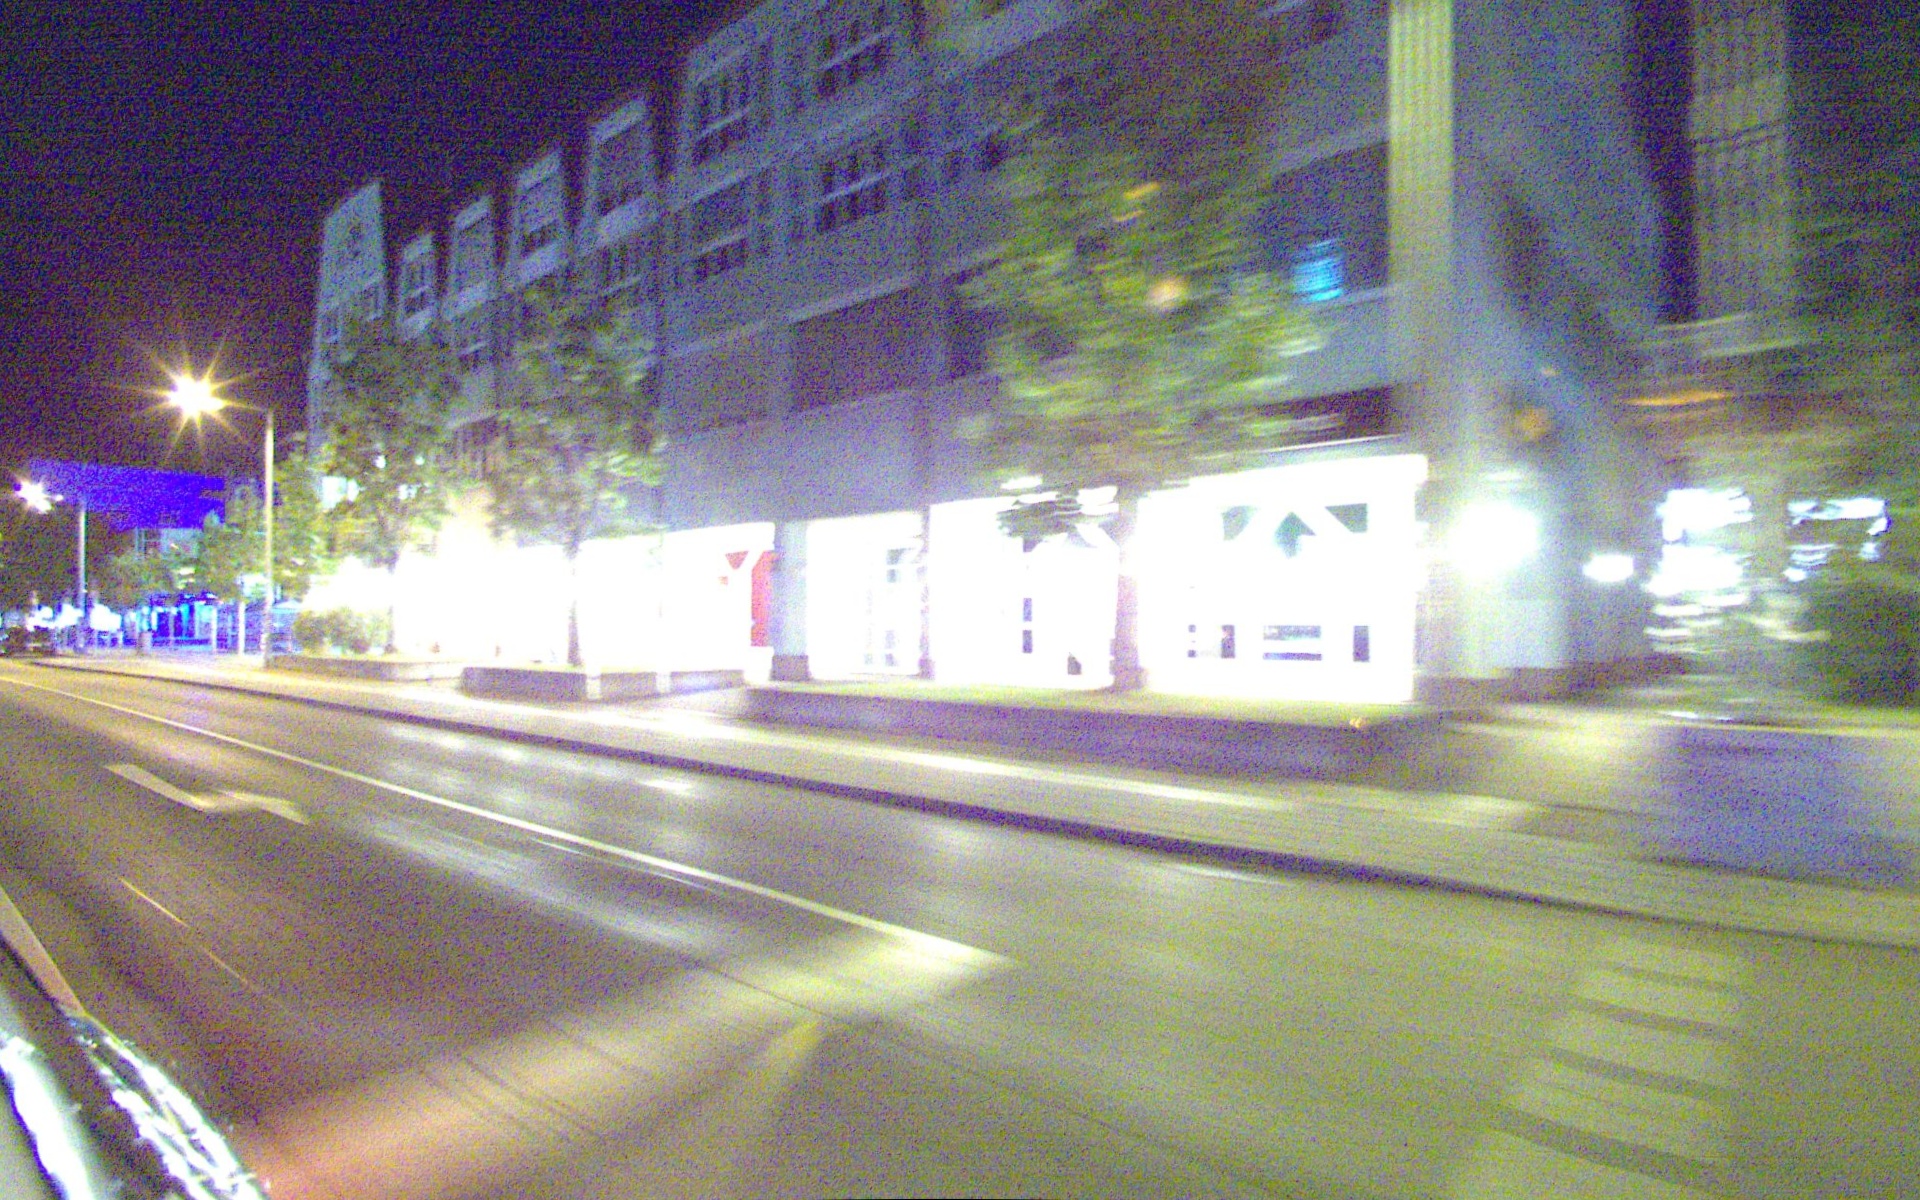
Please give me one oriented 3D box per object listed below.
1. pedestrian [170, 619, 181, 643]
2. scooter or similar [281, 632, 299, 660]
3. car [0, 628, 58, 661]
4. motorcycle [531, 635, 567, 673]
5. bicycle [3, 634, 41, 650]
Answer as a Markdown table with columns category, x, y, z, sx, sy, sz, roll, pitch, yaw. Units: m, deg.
| category | x | y | z | sx | sy | sz | roll | pitch | yaw |
| --- | --- | --- | --- | --- | --- | --- | --- | --- | --- |
| pedestrian | -54.031 | 2.134 | 69.693 | 0.632 | 1.649 | 0.473 | -2 | -3 | 42 |
| scooter or similar | -29.752 | 2.040 | 44.944 | 1.344 | 1.230 | 0.383 | -2 | -3 | 44 |
| car | -42.517 | 2.010 | 46.069 | 4.494 | 1.424 | 1.722 | -2 | -2 | 42 |
| motorcycle | -11.474 | 1.480 | 28.231 | 0.472 | 1.028 | 1.678 | 2 | -2 | -38 |
| bicycle | -62.788 | 2.789 | 67.747 | 0.532 | 1.043 | 1.831 | -2 | -1 | 41 |
